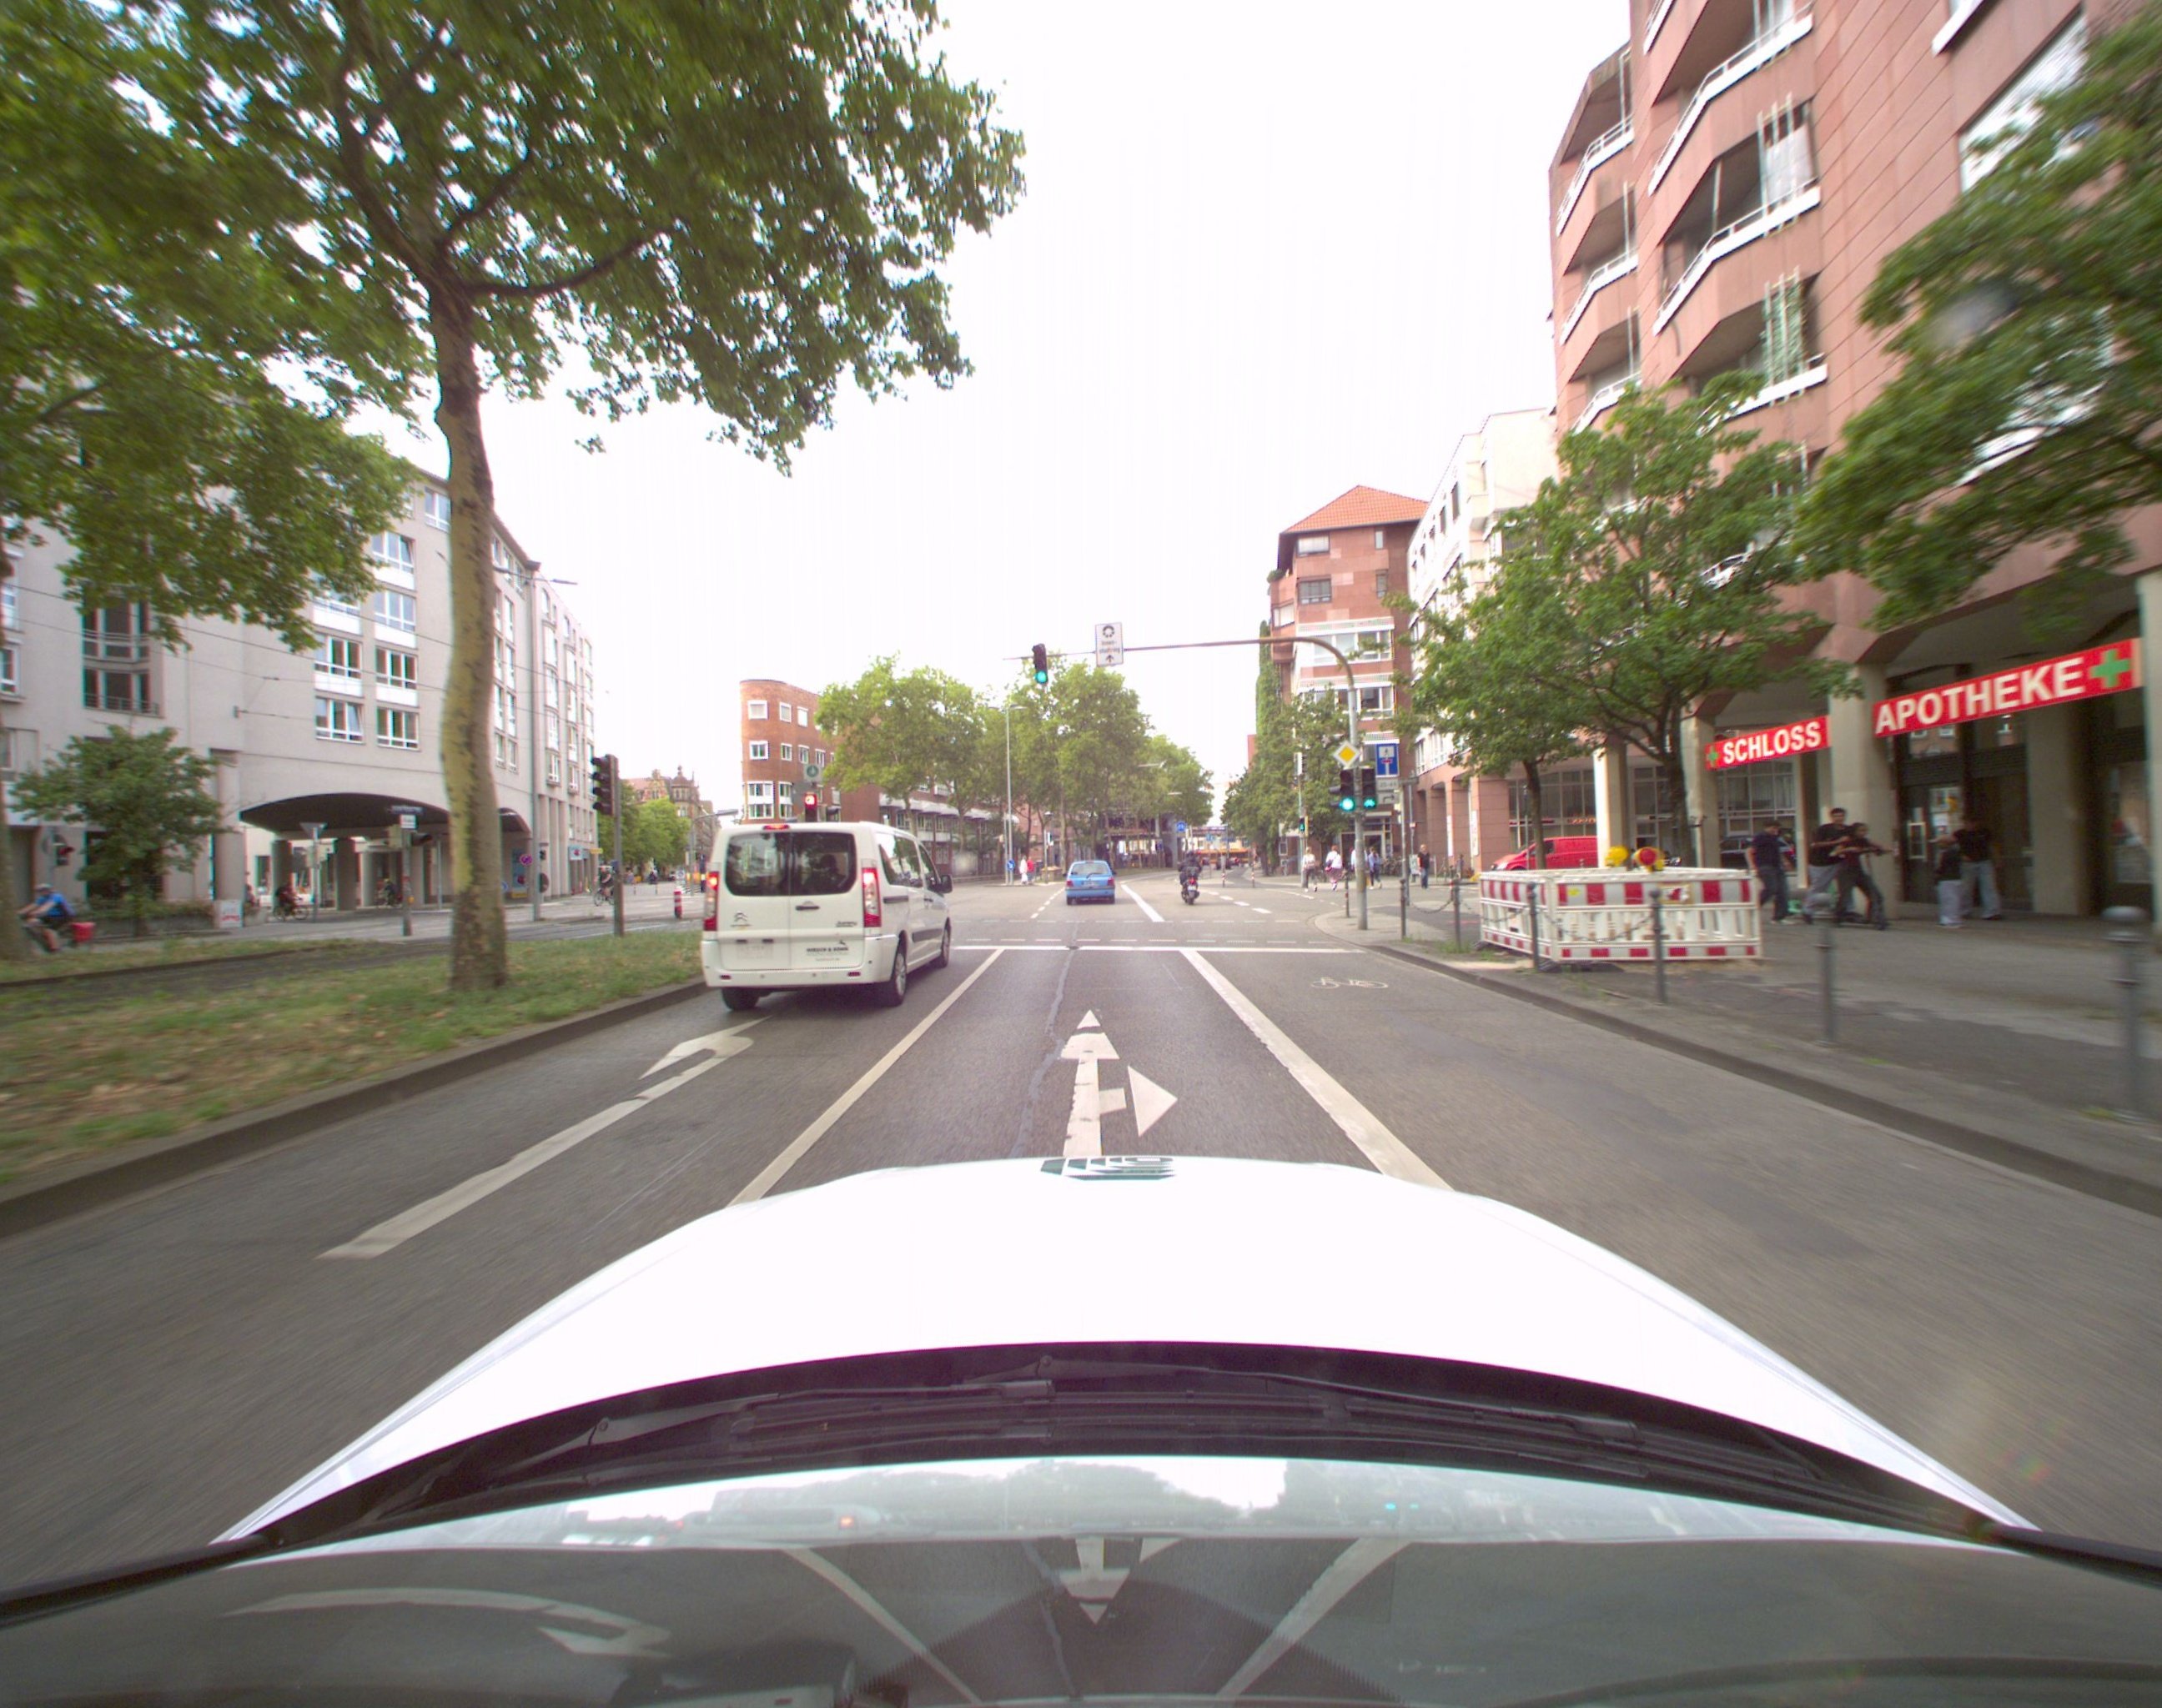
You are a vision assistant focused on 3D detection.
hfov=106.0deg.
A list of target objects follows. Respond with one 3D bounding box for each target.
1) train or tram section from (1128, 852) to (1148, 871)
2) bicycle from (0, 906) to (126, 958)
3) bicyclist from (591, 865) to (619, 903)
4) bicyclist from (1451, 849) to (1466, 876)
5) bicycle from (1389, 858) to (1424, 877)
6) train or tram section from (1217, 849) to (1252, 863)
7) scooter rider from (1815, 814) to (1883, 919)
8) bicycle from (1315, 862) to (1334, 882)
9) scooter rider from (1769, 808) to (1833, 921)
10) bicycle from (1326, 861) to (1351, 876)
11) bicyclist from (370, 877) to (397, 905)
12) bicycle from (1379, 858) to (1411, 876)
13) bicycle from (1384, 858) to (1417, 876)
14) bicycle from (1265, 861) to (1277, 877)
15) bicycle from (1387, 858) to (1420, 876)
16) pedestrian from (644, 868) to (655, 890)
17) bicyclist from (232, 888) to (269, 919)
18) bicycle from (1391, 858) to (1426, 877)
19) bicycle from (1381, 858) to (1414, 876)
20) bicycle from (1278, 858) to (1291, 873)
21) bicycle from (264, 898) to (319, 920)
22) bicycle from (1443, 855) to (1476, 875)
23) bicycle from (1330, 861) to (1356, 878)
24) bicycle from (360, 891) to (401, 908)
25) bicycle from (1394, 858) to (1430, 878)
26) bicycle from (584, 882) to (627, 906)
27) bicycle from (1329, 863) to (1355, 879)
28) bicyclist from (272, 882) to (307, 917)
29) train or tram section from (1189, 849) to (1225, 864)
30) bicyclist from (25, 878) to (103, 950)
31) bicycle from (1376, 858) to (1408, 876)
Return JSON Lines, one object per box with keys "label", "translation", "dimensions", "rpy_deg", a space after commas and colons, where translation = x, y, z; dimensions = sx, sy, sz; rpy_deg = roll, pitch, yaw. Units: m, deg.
{"label": "train or tram section", "translation": [10.443, 1.317, 148.971], "dimensions": [2.373, 3.254, 8.846], "rpy_deg": [-2, -1, 12]}
{"label": "bicycle", "translation": [-24.752, 1.868, 19.793], "dimensions": [0.686, 1.092, 1.883], "rpy_deg": [-2, 0, 12]}
{"label": "bicyclist", "translation": [-24.175, 1.499, 41.382], "dimensions": [0.663, 1.848, 1.083], "rpy_deg": [-3, 0, 6]}
{"label": "bicyclist", "translation": [17.949, 0.404, 38.746], "dimensions": [0.491, 1.244, 0.483], "rpy_deg": [-2, -1, 38]}
{"label": "bicycle", "translation": [18.404, 0.765, 46.082], "dimensions": [1.720, 1.008, 0.547], "rpy_deg": [-2, -1, 7]}
{"label": "train or tram section", "translation": [36.927, 0.473, 195.447], "dimensions": [8.375, 3.254, 2.376], "rpy_deg": [-2, -1, -26]}
{"label": "scooter rider", "translation": [11.675, 0.188, 12.396], "dimensions": [0.458, 1.557, 0.566], "rpy_deg": [-2, -1, 5]}
{"label": "bicycle", "translation": [13.066, 0.942, 43.739], "dimensions": [0.614, 1.008, 1.738], "rpy_deg": [-2, -1, 6]}
{"label": "scooter rider", "translation": [11.199, 0.163, 12.688], "dimensions": [0.460, 1.720, 0.554], "rpy_deg": [-2, -1, 5]}
{"label": "bicycle", "translation": [14.415, 0.806, 45.568], "dimensions": [1.287, 0.814, 0.447], "rpy_deg": [-2, -1, 23]}
{"label": "bicyclist", "translation": [-39.016, 2.065, 45.527], "dimensions": [1.024, 1.562, 0.584], "rpy_deg": [-2, -1, 9]}
{"label": "bicycle", "translation": [18.649, 0.771, 48.417], "dimensions": [1.720, 1.008, 0.438], "rpy_deg": [-2, -1, 7]}
{"label": "bicycle", "translation": [18.586, 0.764, 47.373], "dimensions": [1.720, 1.008, 0.479], "rpy_deg": [-2, -1, 7]}
{"label": "bicycle", "translation": [12.916, 1.016, 55.430], "dimensions": [0.613, 1.008, 1.738], "rpy_deg": [-2, -1, 7]}
{"label": "bicycle", "translation": [18.549, 0.760, 46.883], "dimensions": [1.720, 1.008, 0.425], "rpy_deg": [-2, -1, 7]}
{"label": "pedestrian", "translation": [-39.180, 2.253, 73.994], "dimensions": [0.793, 1.964, 0.799], "rpy_deg": [-2, -1, -23]}
{"label": "bicyclist", "translation": [-36.685, 2.197, 35.980], "dimensions": [0.873, 1.304, 0.771], "rpy_deg": [-2, -1, 15]}
{"label": "bicycle", "translation": [18.285, 0.769, 45.498], "dimensions": [1.720, 1.008, 0.547], "rpy_deg": [-2, -1, 7]}
{"label": "bicycle", "translation": [18.624, 0.766, 47.901], "dimensions": [1.720, 1.008, 0.472], "rpy_deg": [-2, -1, 7]}
{"label": "bicycle", "translation": [13.883, 0.758, 55.557], "dimensions": [0.613, 1.008, 1.738], "rpy_deg": [-2, -1, 7]}
{"label": "bicycle", "translation": [-35.866, 2.503, 37.004], "dimensions": [2.164, 0.911, 0.769], "rpy_deg": [-2, -1, 14]}
{"label": "bicycle", "translation": [17.994, 0.534, 38.726], "dimensions": [1.302, 0.915, 0.478], "rpy_deg": [-2, -1, 38]}
{"label": "bicycle", "translation": [14.777, 0.881, 46.002], "dimensions": [1.287, 0.868, 0.456], "rpy_deg": [-5, -2, 23]}
{"label": "bicycle", "translation": [-39.172, 2.552, 45.556], "dimensions": [1.969, 0.836, 0.580], "rpy_deg": [-2, -1, 9]}
{"label": "bicycle", "translation": [18.251, 0.767, 44.889], "dimensions": [1.720, 1.008, 0.547], "rpy_deg": [-2, -1, 7]}
{"label": "bicycle", "translation": [-24.152, 2.001, 41.427], "dimensions": [0.674, 1.093, 2.213], "rpy_deg": [-3, 0, 6]}
{"label": "bicycle", "translation": [14.410, 0.950, 44.951], "dimensions": [1.288, 0.838, 0.456], "rpy_deg": [-2, -1, 18]}
{"label": "bicyclist", "translation": [-36.009, 2.058, 37.048], "dimensions": [0.873, 1.539, 0.771], "rpy_deg": [-2, -1, 15]}
{"label": "train or tram section", "translation": [29.574, 0.658, 191.303], "dimensions": [8.850, 3.254, 2.372], "rpy_deg": [-2, -1, -33]}
{"label": "bicyclist", "translation": [-24.757, 1.449, 19.831], "dimensions": [0.685, 1.673, 0.956], "rpy_deg": [-2, -1, 12]}
{"label": "bicycle", "translation": [18.700, 0.775, 48.918], "dimensions": [1.720, 1.008, 0.431], "rpy_deg": [-2, -1, 7]}
